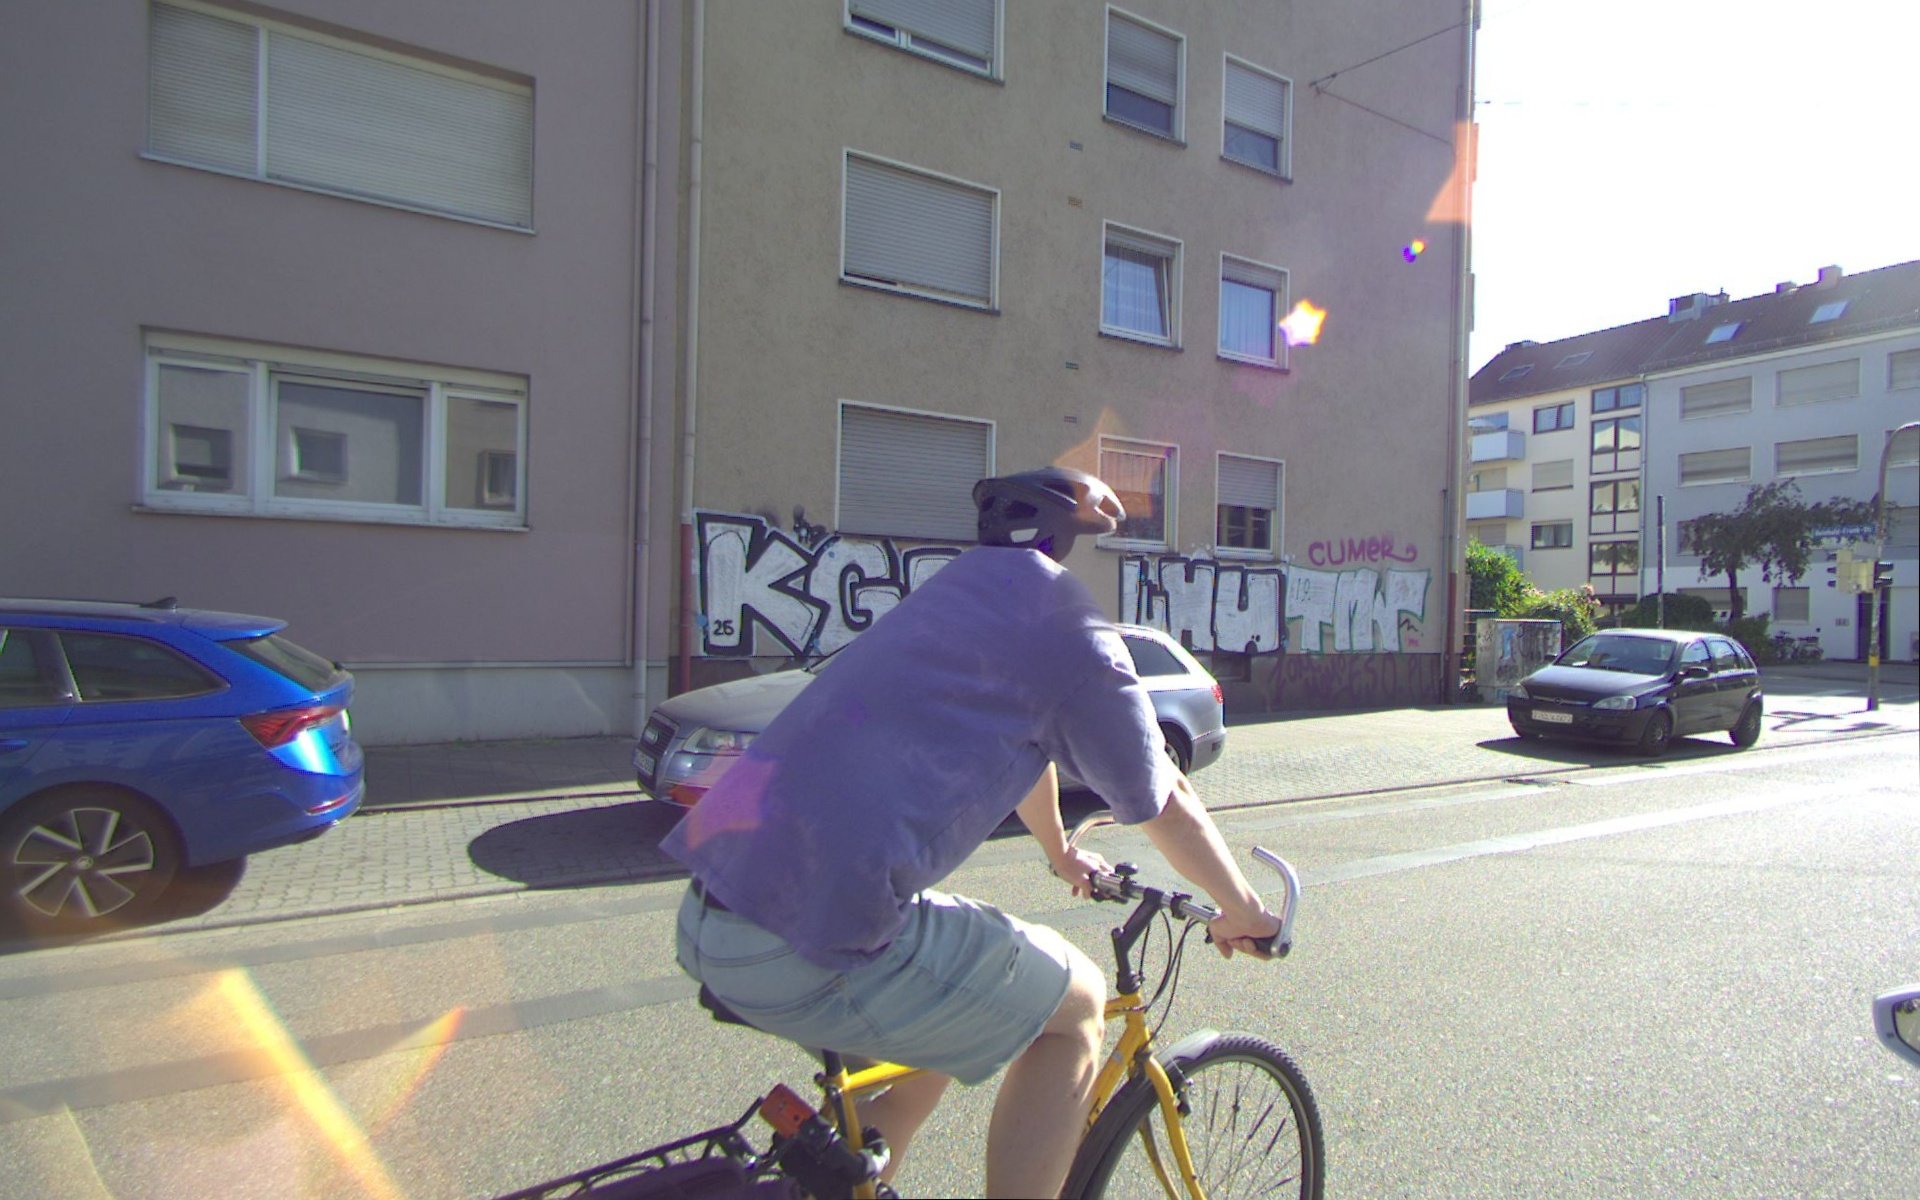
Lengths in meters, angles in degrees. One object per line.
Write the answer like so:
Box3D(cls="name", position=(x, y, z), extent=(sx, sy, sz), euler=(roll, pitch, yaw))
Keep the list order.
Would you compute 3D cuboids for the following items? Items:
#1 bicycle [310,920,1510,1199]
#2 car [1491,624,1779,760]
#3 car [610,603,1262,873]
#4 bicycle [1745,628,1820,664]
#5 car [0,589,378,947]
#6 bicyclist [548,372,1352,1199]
Box3D(cls="bicycle", position=(0.089, 1.175, 1.530), extent=(1.796, 0.893, 0.606), euler=(0, 0, -36))
Box3D(cls="car", position=(8.648, 1.080, 12.823), extent=(3.667, 1.444, 1.608), euler=(1, 1, -31))
Box3D(cls="car", position=(-0.040, 0.843, 7.708), extent=(4.759, 1.485, 1.708), euler=(1, 2, -31))
Box3D(cls="bicycle", position=(29.718, 1.648, 36.347), extent=(2.068, 1.188, 0.738), euler=(0, -1, 37))
Box3D(cls="car", position=(-5.329, 0.707, 4.602), extent=(4.558, 1.485, 1.709), euler=(1, 2, -30))
Box3D(cls="bicyclist", position=(0.006, 0.480, 1.455), extent=(1.008, 1.364, 0.604), euler=(0, 0, -36))
